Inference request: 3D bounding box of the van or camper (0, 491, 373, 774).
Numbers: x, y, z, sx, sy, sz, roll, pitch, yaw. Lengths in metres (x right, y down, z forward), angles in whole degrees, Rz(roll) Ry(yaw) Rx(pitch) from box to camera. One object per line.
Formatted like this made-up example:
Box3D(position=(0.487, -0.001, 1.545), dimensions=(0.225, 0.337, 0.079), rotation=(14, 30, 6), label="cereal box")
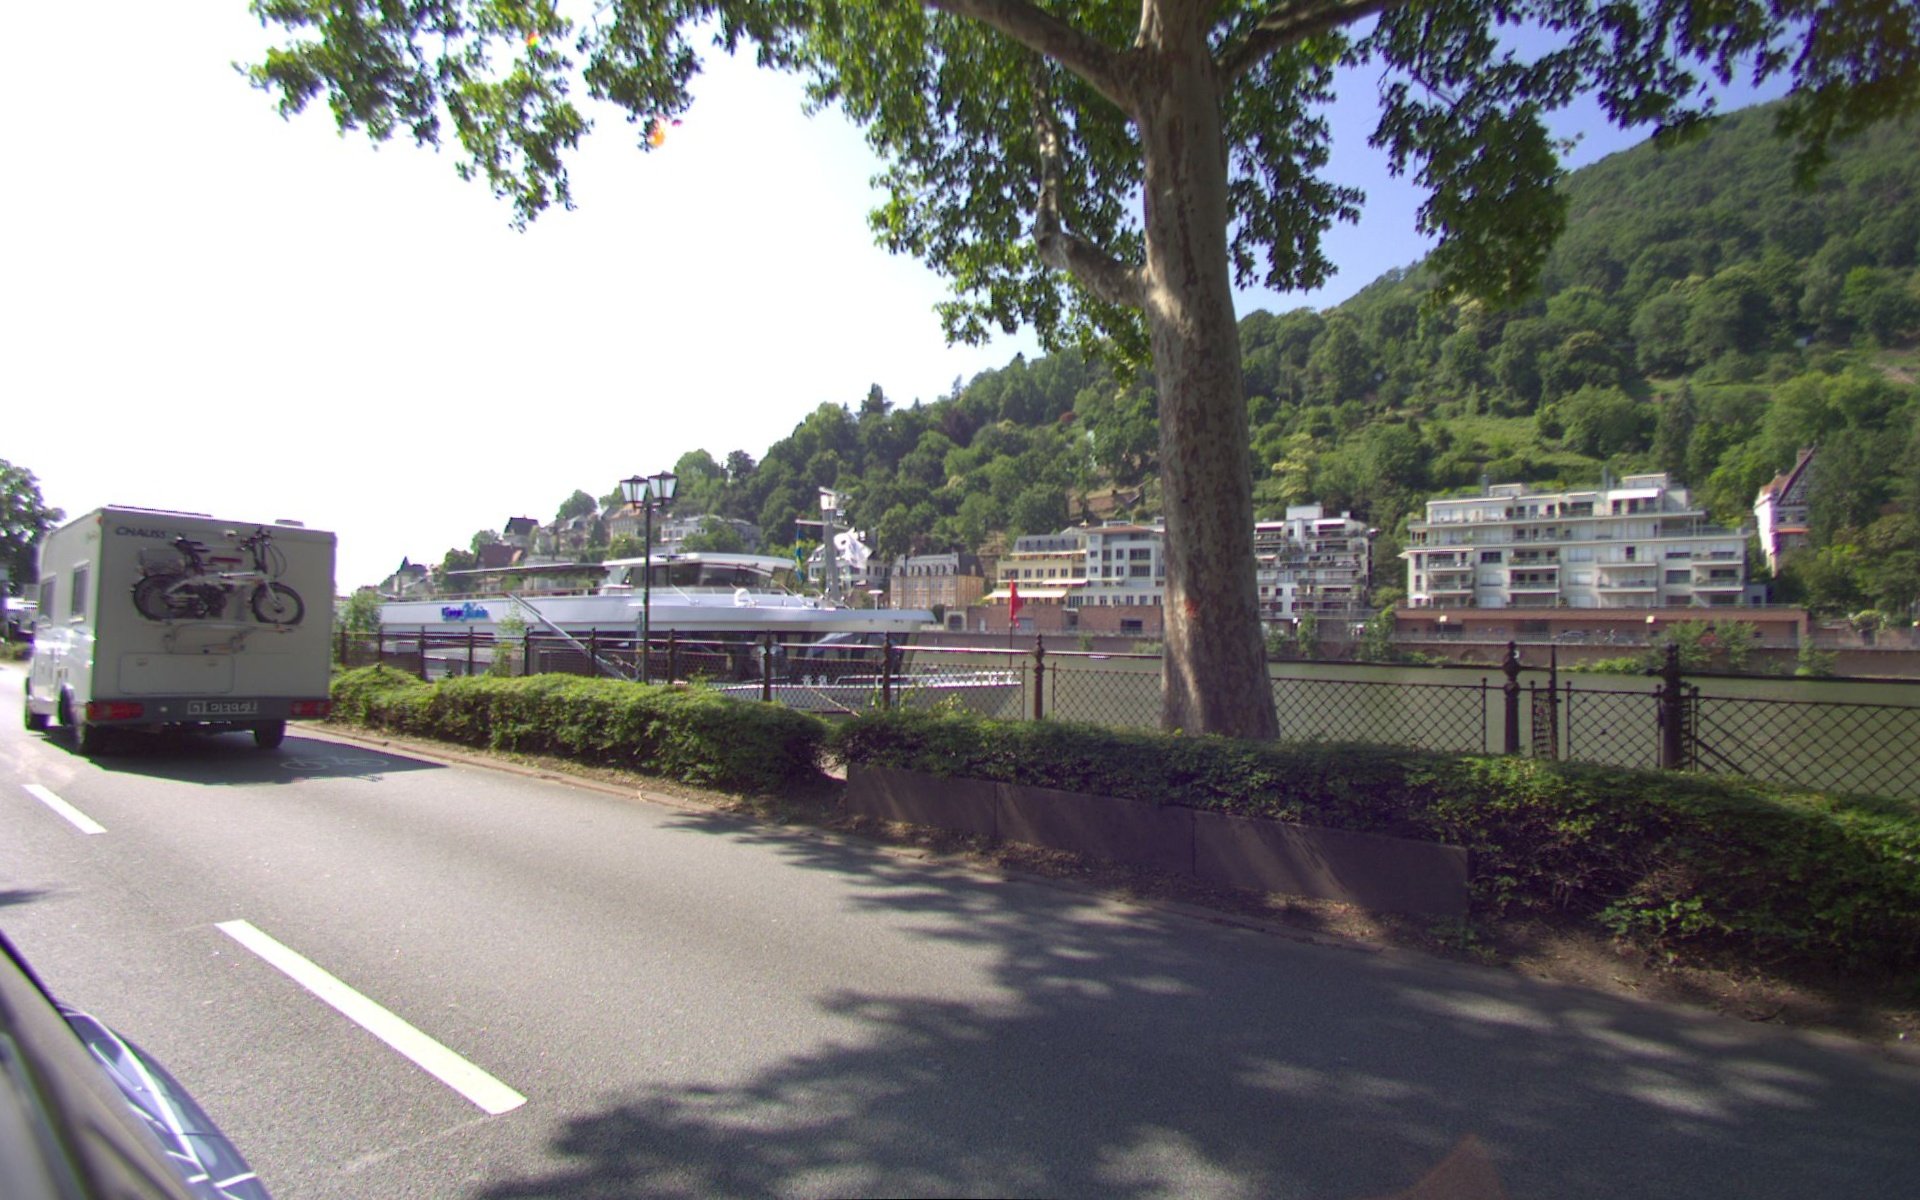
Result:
Box3D(position=(-9.799, 0.389, 12.506), dimensions=(6.259, 2.682, 2.299), rotation=(-1, -4, 40), label="van or camper")
